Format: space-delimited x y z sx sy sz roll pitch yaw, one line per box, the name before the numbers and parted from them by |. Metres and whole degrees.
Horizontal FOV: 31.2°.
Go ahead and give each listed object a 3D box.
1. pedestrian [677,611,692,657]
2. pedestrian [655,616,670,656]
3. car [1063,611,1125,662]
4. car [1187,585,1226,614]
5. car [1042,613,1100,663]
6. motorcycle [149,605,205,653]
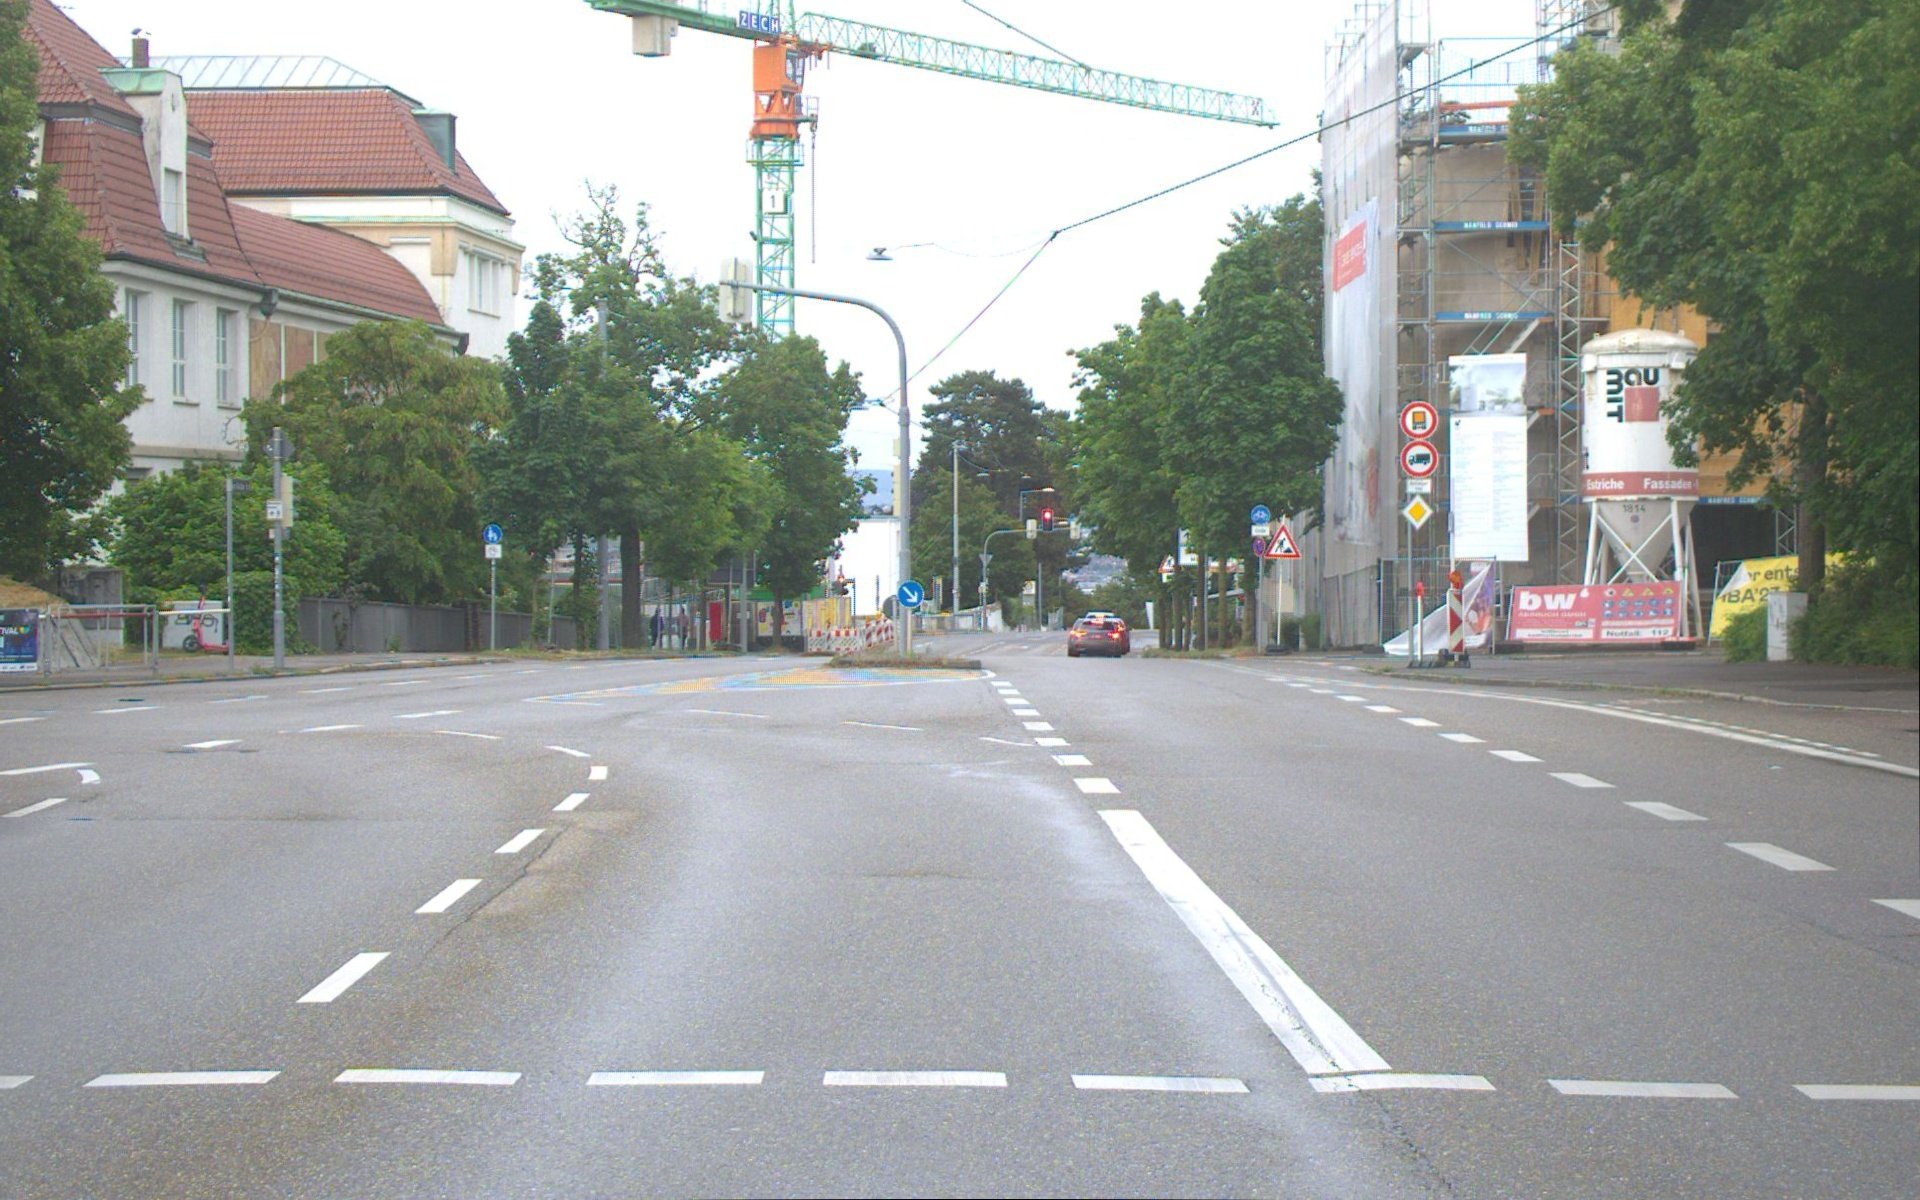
pedestrian | -9.825 1.219 122.712 0.493 1.640 0.534 1 0 -6
pedestrian | -10.628 1.290 122.691 0.474 1.391 0.411 -1 1 -1
car | 4.852 1.314 124.980 1.993 1.744 4.000 -1 1 -1
car | 15.729 -0.044 219.329 1.994 1.744 3.998 -1 1 11
car | 4.236 1.437 131.293 1.993 1.744 4.000 -1 1 -1
motorcycle | -14.718 0.549 64.607 0.849 0.874 0.877 1 0 -1
